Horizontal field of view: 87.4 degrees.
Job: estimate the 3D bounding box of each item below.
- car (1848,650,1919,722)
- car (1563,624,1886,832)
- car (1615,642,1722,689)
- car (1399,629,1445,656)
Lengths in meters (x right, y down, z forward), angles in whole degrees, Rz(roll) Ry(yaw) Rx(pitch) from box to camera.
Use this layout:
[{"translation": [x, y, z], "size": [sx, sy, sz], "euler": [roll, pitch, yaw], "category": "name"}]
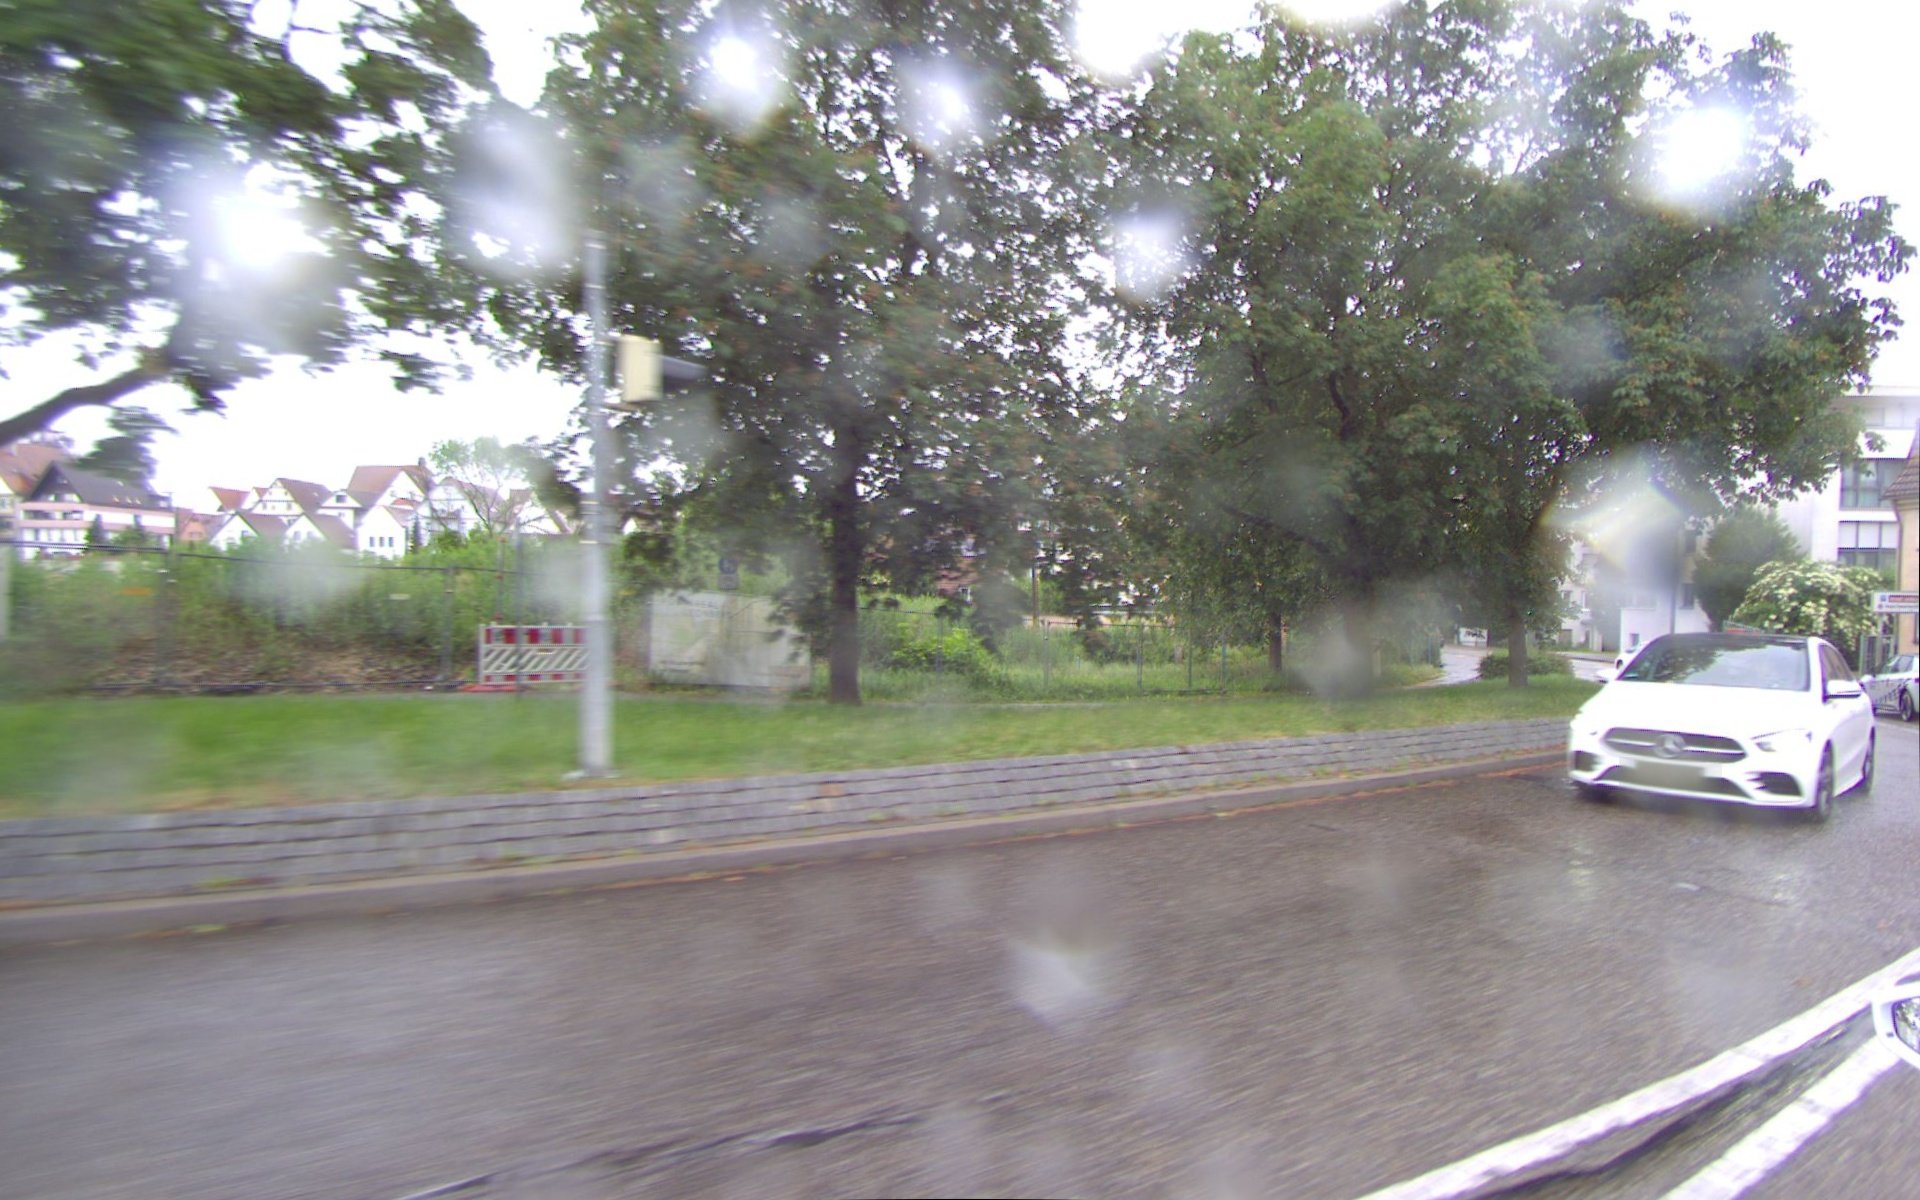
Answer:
[{"translation": [22.587, 1.996, 23.413], "size": [1.790, 1.378, 3.985], "euler": [2, 1, 26], "category": "car"}, {"translation": [7.484, 1.051, 9.671], "size": [4.226, 1.525, 1.708], "euler": [2, -1, -42], "category": "car"}, {"translation": [27.320, 2.490, 38.890], "size": [1.698, 1.611, 4.188], "euler": [2, -2, 10], "category": "car"}, {"translation": [31.233, 2.862, 67.981], "size": [1.860, 1.612, 3.690], "euler": [0, 0, 8], "category": "car"}]
